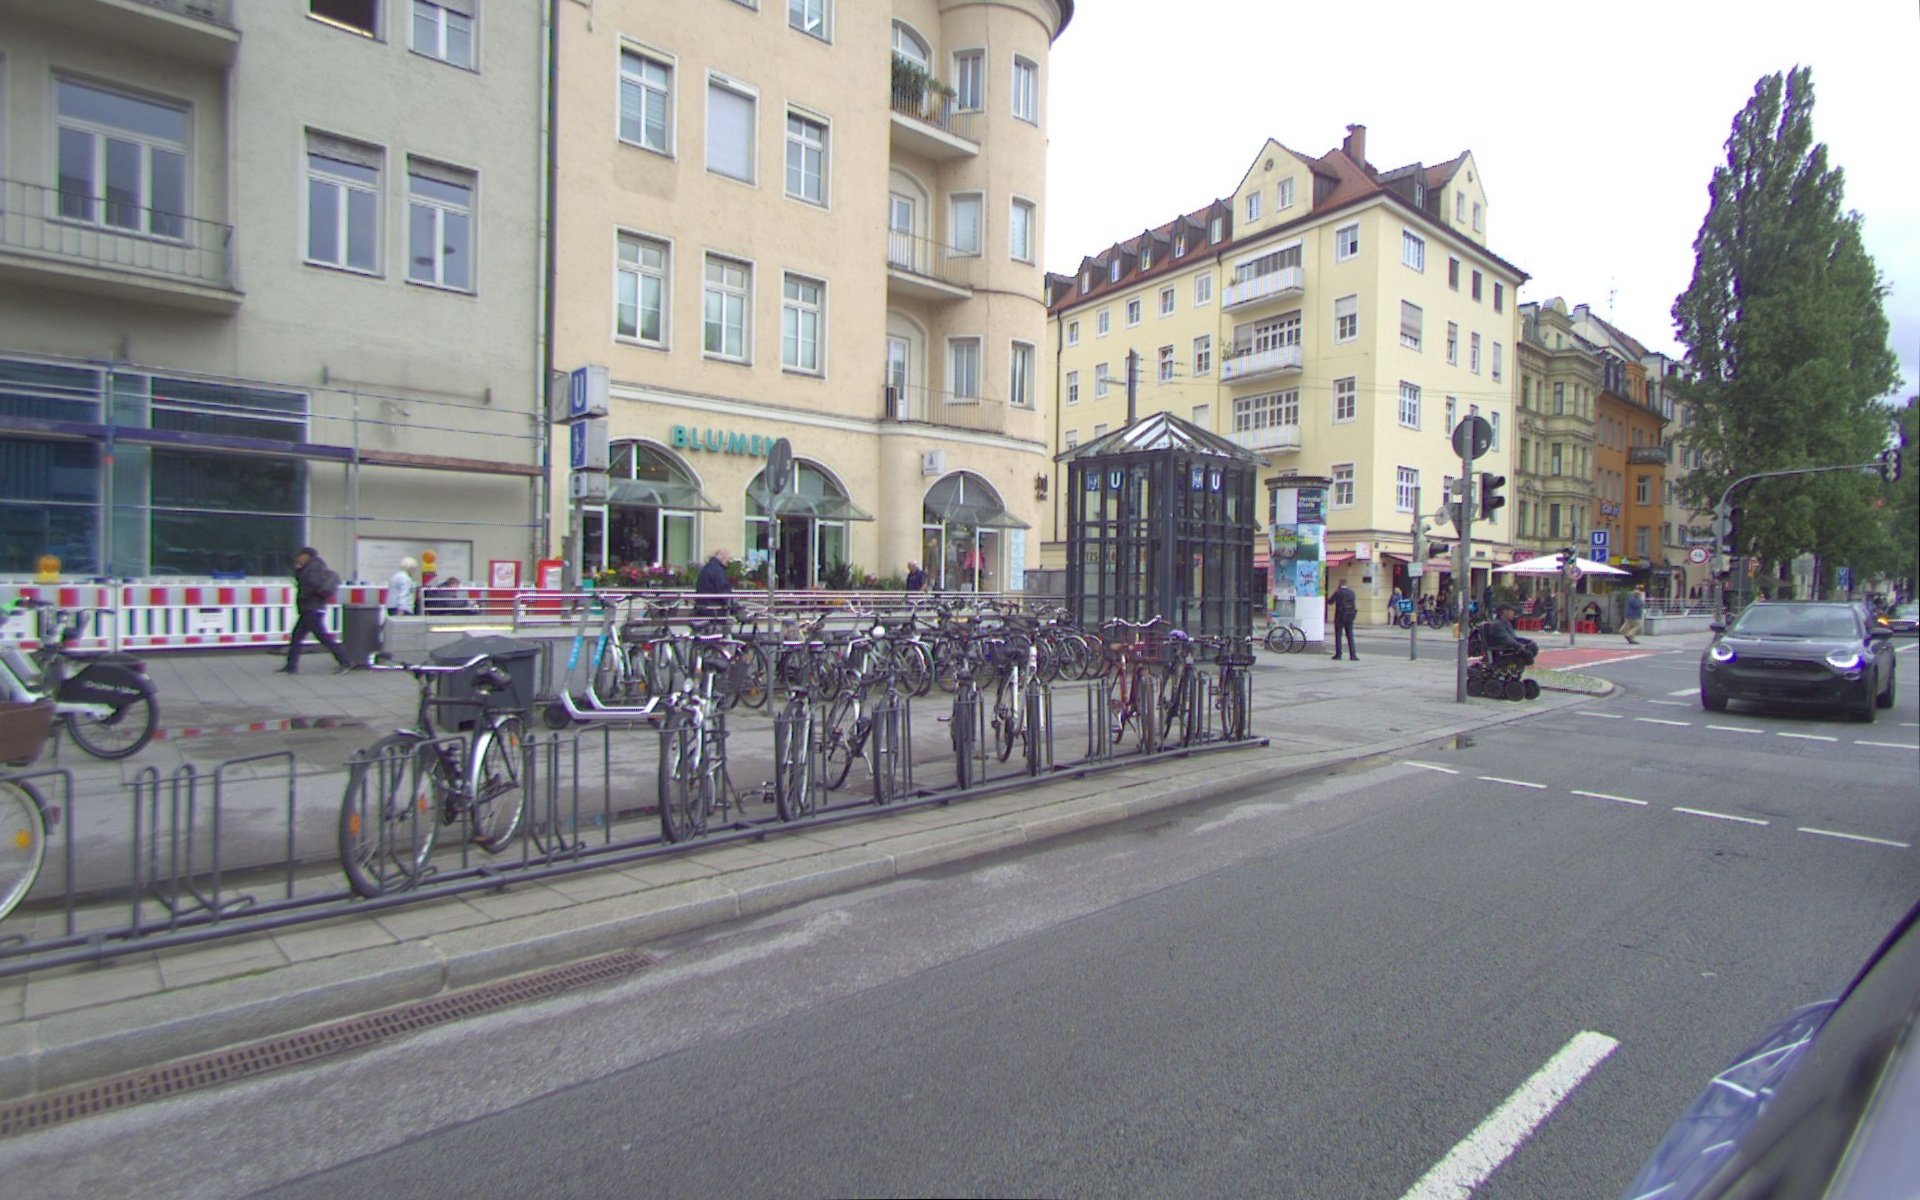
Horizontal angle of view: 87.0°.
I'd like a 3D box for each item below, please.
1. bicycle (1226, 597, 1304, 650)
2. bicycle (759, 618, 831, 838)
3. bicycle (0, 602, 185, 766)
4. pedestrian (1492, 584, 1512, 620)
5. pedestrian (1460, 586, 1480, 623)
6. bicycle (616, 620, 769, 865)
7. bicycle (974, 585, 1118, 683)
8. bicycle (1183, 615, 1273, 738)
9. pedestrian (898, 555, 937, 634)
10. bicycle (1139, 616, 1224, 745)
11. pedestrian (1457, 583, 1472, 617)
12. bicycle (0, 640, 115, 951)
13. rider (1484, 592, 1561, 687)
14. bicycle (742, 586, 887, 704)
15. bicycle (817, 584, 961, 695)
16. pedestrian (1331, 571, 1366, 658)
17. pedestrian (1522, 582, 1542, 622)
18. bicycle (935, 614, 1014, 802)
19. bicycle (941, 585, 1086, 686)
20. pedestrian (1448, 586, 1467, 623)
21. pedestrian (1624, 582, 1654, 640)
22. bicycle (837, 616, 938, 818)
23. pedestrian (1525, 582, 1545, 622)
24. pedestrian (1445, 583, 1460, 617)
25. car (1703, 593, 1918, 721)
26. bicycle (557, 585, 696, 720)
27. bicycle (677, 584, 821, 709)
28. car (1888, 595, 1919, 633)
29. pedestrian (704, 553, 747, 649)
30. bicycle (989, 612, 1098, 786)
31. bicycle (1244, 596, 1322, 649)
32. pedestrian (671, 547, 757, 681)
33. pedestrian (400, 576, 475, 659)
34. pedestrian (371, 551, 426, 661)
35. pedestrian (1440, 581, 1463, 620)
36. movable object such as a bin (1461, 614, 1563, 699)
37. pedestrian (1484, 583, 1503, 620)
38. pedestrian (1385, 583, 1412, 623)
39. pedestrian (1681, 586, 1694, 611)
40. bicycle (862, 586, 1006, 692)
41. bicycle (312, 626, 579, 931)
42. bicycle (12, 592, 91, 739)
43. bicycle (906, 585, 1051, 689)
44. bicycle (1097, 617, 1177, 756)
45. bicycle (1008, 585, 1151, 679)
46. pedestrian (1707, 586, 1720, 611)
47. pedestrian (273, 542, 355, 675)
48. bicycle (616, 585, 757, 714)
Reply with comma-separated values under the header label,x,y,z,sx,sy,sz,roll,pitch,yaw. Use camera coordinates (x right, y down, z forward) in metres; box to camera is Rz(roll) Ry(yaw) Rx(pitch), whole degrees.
label,x,y,z,sx,sy,sz,roll,pitch,yaw
bicycle,7.088,0.526,23.604,0.597,1.142,1.828,2,1,-29
bicycle,-0.999,0.710,6.279,0.341,1.151,1.527,0,0,-6
bicycle,-6.581,0.583,7.252,1.728,1.091,0.410,2,2,-1
pedestrian,23.702,0.094,44.242,0.656,1.557,0.552,1,1,-41
pedestrian,21.561,0.178,42.798,0.575,1.545,0.528,1,1,-41
bicycle,-1.485,0.716,5.881,0.578,1.151,1.798,0,0,-6
bicycle,1.182,0.439,14.548,0.617,1.242,2.318,1,1,-38
bicycle,2.540,0.703,9.744,0.390,1.073,1.851,0,-3,1
pedestrian,-0.974,-0.147,22.965,0.634,1.760,0.617,-1,2,-43
bicycle,2.001,0.707,9.337,0.390,1.073,1.851,0,-3,1
pedestrian,23.170,-0.012,46.466,0.524,1.545,0.579,2,1,31
bicycle,-3.892,0.755,3.441,0.480,1.151,1.794,0,0,2
rider,8.006,0.542,14.415,0.721,1.256,0.731,-1,4,-44
bicycle,-1.807,0.479,12.204,0.617,1.242,2.343,1,1,-38
bicycle,-0.958,0.449,12.919,0.617,1.242,2.330,1,1,-38
pedestrian,8.246,0.290,21.458,0.634,1.799,0.605,1,0,25
pedestrian,25.031,0.081,44.273,0.575,1.705,0.552,1,1,-41
bicycle,0.069,0.694,7.230,0.469,1.151,1.679,0,0,-2
bicycle,0.694,0.446,14.115,0.617,1.242,2.318,1,1,-38
pedestrian,21.220,0.176,43.173,0.575,1.545,0.528,1,1,-41
pedestrian,22.095,0.339,32.924,0.729,1.823,0.701,2,3,40
bicycle,-0.525,0.701,6.825,0.468,1.151,1.681,0,0,-11
pedestrian,24.703,0.091,43.474,0.575,1.705,0.552,1,1,-41
pedestrian,22.772,-0.013,46.803,0.524,1.545,0.579,2,1,31
car,11.760,0.666,13.907,3.981,1.489,1.738,0,1,-42
bicycle,-3.608,0.486,10.786,0.617,1.242,2.368,1,1,-38
bicycle,-2.462,0.471,11.556,0.617,1.242,2.318,1,1,-38
car,43.738,0.625,46.059,3.931,1.645,1.852,-1,1,-41
pedestrian,-4.325,0.006,18.644,0.580,1.722,0.565,-1,2,-43
bicycle,0.599,0.685,7.807,0.468,1.151,1.788,0,0,-7
bicycle,7.621,0.520,23.961,0.597,1.142,1.828,2,1,-29
pedestrian,-3.275,0.162,13.472,0.804,1.713,0.747,2,1,35
pedestrian,-8.255,0.255,15.995,0.904,1.261,0.700,-1,2,-43
pedestrian,-8.218,0.072,14.810,0.580,1.560,0.565,-1,2,-43
pedestrian,21.967,0.008,45.251,0.672,1.687,0.622,1,1,5
movable object such as a bin,7.917,0.782,14.532,0.735,1.075,1.088,-1,4,-44
pedestrian,24.408,0.066,46.272,0.575,1.705,0.552,1,1,-41
pedestrian,17.492,0.119,40.377,0.818,1.587,0.714,0,0,-41
pedestrian,49.141,-0.106,68.345,0.575,1.705,0.552,1,1,-41
bicycle,-0.391,0.459,13.398,0.617,1.242,2.318,1,1,-38
bicycle,-2.385,0.731,4.925,0.480,1.151,1.797,0,0,-3
bicycle,-7.855,0.514,8.783,0.403,1.091,1.651,0,2,-38
bicycle,0.194,0.452,13.741,0.617,1.242,2.318,1,1,-38
bicycle,1.497,0.704,8.770,0.390,1.073,1.851,0,-3,1
bicycle,1.719,0.431,15.005,0.617,1.242,2.318,1,1,-38
pedestrian,50.257,-0.102,67.510,0.575,1.705,0.552,1,1,-41
pedestrian,-8.337,0.099,13.064,0.819,1.652,0.564,1,1,-38
bicycle,-3.079,0.478,11.195,0.617,1.242,2.343,1,1,-38
